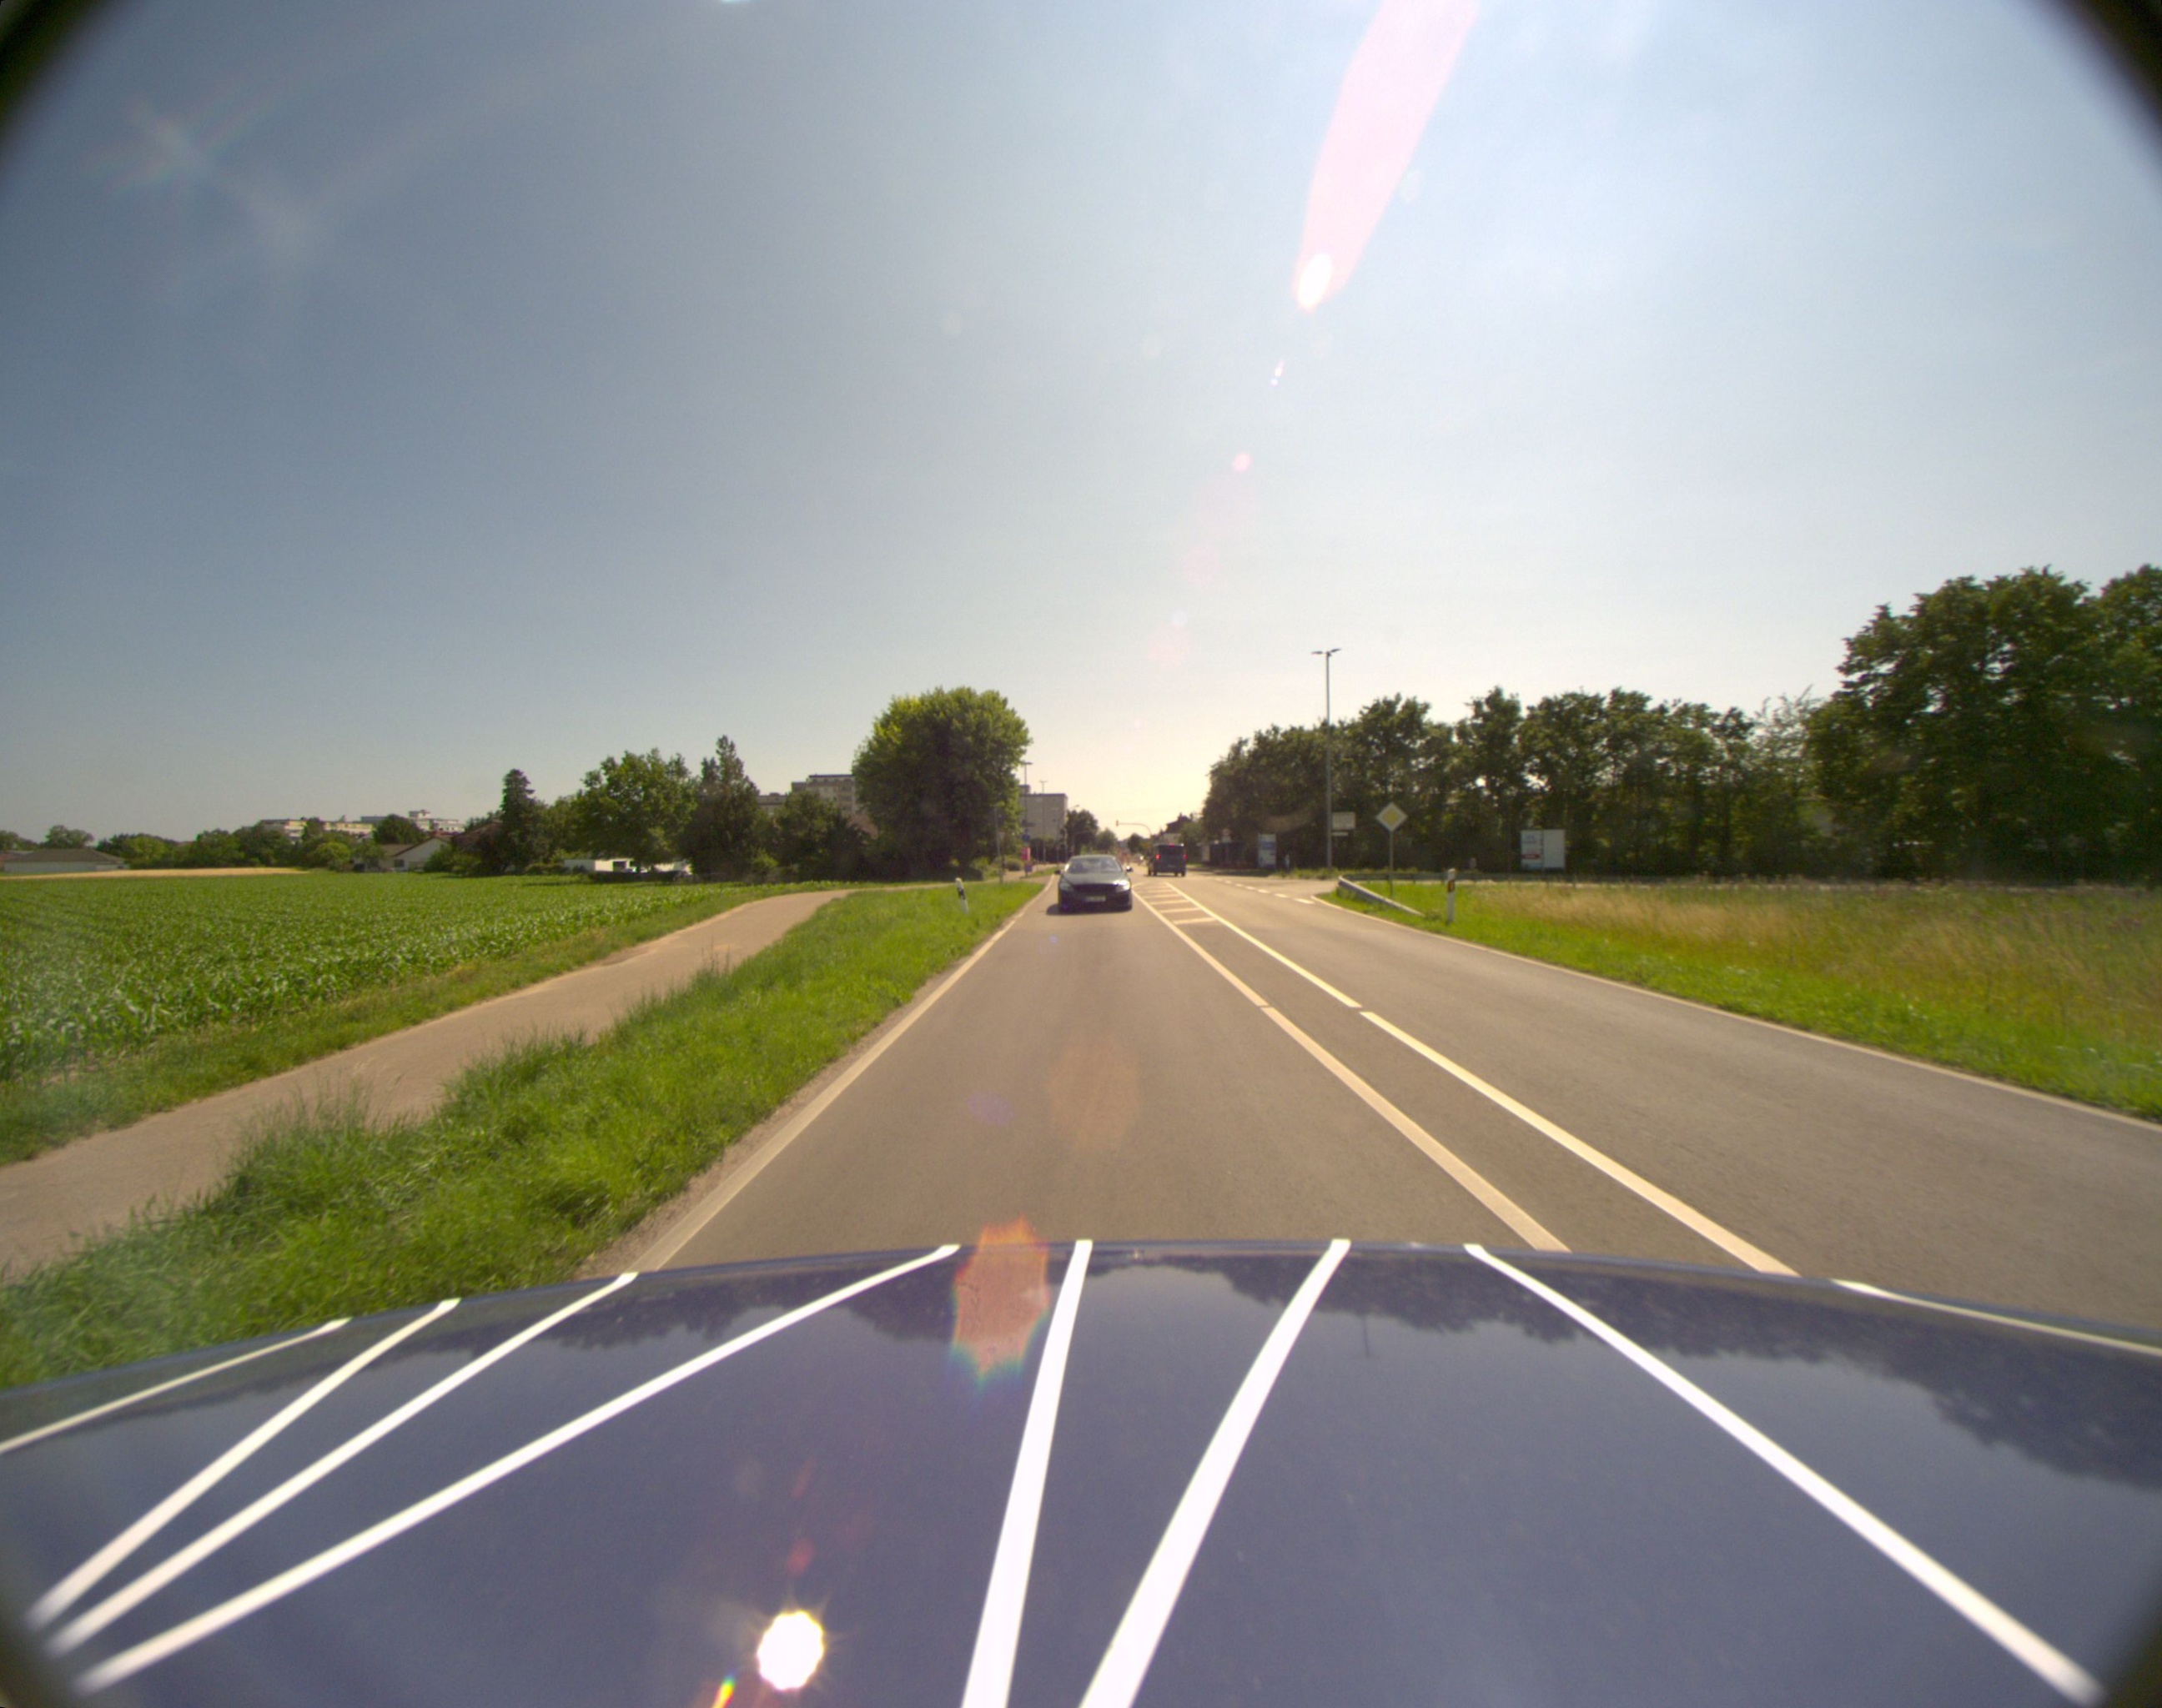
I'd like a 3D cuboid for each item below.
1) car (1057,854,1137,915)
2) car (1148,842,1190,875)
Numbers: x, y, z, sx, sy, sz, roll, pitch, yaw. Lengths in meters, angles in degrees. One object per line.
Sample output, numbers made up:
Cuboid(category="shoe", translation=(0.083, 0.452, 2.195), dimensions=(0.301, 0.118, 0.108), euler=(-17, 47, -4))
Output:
Cuboid(category="car", translation=(0.375, 0.745, 20.959), dimensions=(1.889, 1.429, 4.838), euler=(-2, 0, 0))
Cuboid(category="car", translation=(5.544, 0.271, 48.291), dimensions=(2.149, 1.940, 5.247), euler=(0, 0, 1))
